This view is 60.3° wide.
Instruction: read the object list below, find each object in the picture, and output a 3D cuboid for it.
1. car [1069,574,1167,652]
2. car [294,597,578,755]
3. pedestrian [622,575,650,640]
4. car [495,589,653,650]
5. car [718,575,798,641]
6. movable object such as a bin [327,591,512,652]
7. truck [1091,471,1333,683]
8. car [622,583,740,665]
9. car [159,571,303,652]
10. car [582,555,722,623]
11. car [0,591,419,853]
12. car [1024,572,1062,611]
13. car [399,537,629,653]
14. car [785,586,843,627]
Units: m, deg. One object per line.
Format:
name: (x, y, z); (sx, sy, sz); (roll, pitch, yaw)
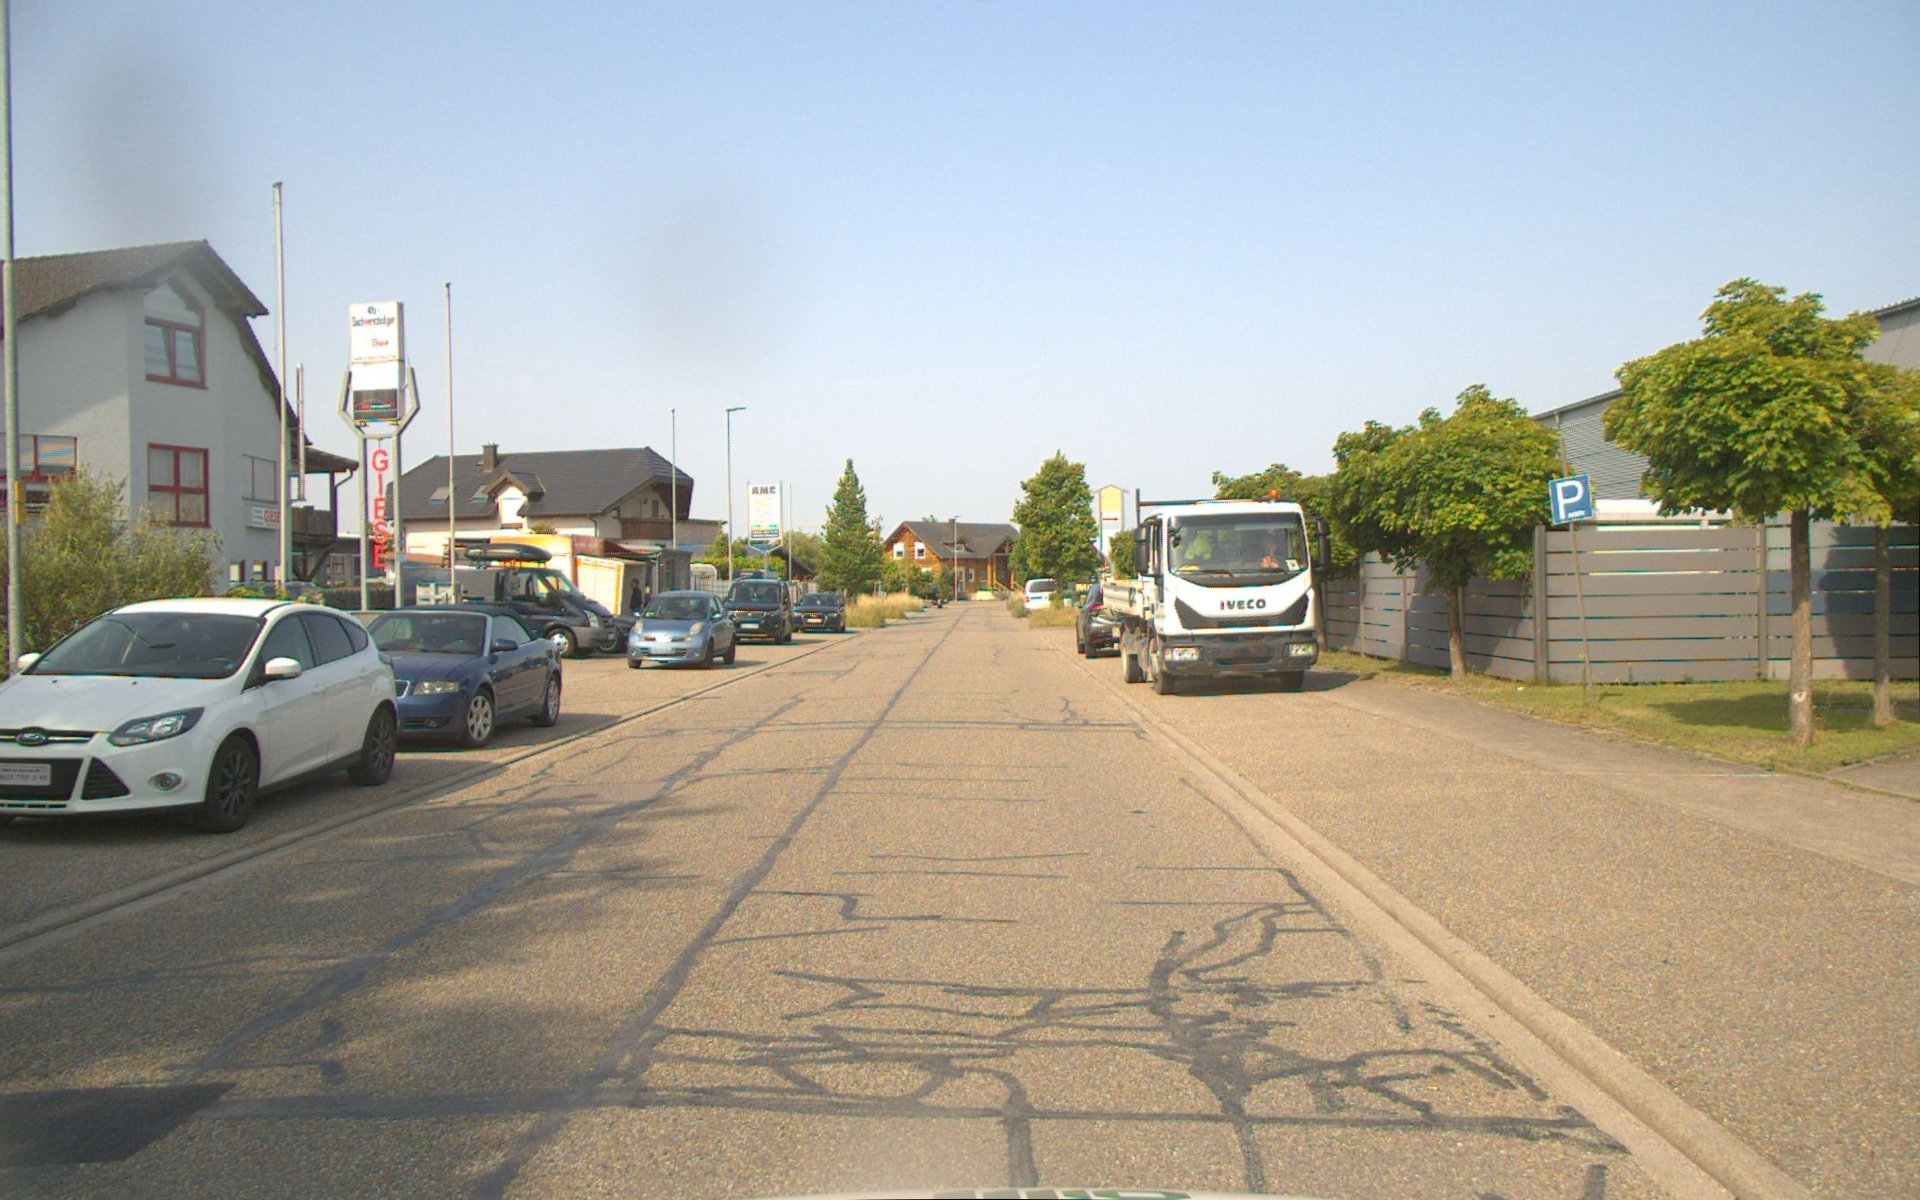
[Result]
car: (3.457, 0.254, 36.851); (1.758, 1.588, 4.000); (-1, 1, 0)
car: (-5.418, 0.709, 17.691); (1.599, 1.411, 4.370); (0, 1, 0)
pedestrian: (-8.811, 0.197, 44.979); (0.558, 1.745, 0.527); (-2, 1, -37)
car: (-9.527, 0.472, 41.005); (3.516, 1.439, 1.761); (0, 1, -3)
car: (-5.805, 0.197, 47.881); (1.763, 1.805, 4.203); (1, 1, 0)
movable object such as a bin: (-11.338, 0.431, 34.787); (3.252, 1.166, 1.763); (1, 1, 9)
truck: (3.583, -0.336, 25.034); (2.312, 2.728, 6.507); (-1, 1, -3)
car: (-5.635, 0.446, 33.755); (1.599, 1.544, 3.607); (1, 1, 3)
car: (-16.136, 0.212, 36.786); (1.513, 1.691, 3.476); (-1, 1, 2)
car: (-12.799, -0.481, 68.851); (5.051, 2.631, 2.577); (-2, 1, 21)
car: (-5.429, 0.707, 11.864); (1.649, 1.495, 4.254); (0, 1, 1)
car: (4.334, -0.457, 87.024); (1.800, 1.957, 3.757); (-2, 1, 1)
car: (-9.934, -0.115, 37.104); (4.530, 2.458, 2.001); (-1, 0, 3)
car: (-5.306, 0.222, 60.547); (1.763, 1.411, 3.638); (1, 1, 0)
